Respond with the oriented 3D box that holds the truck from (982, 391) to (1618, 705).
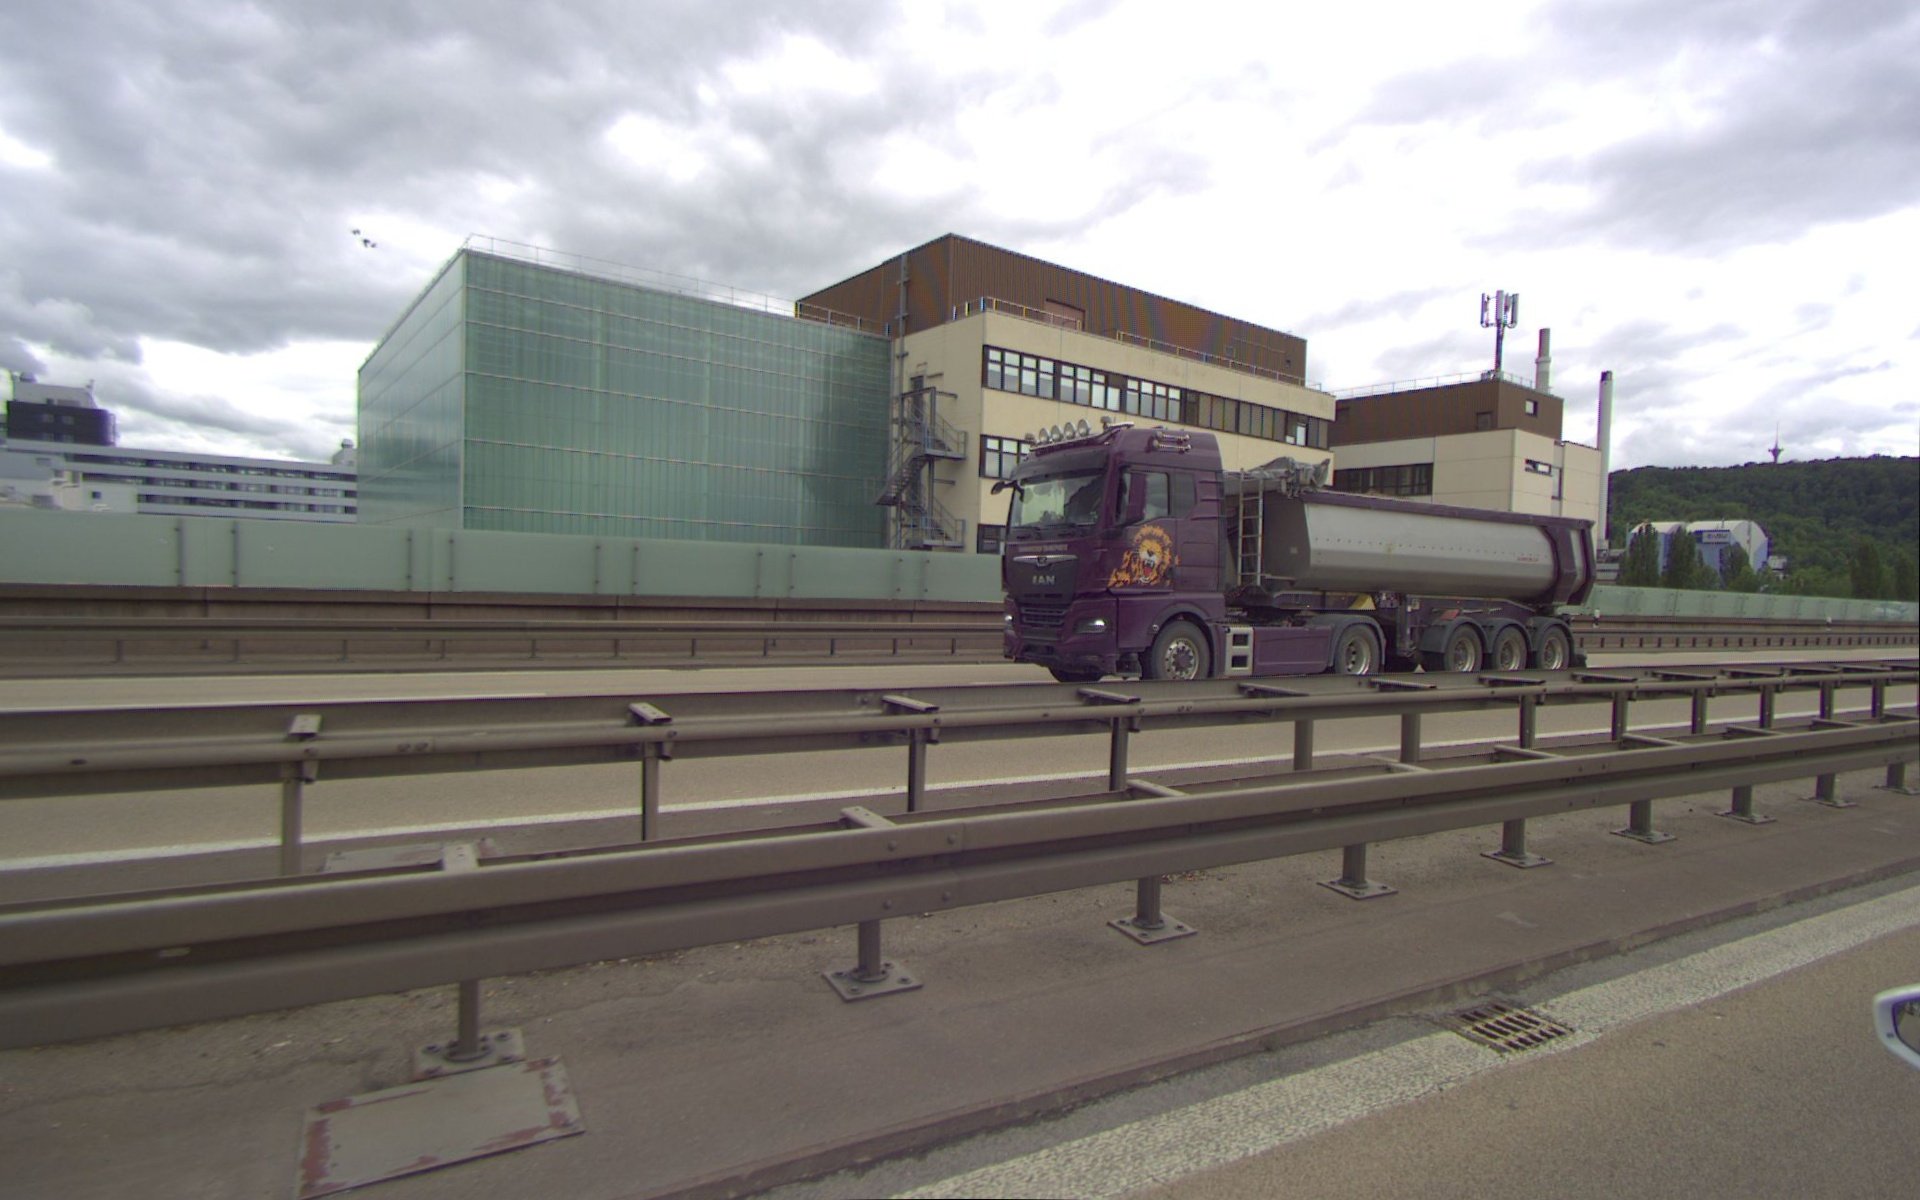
[{"bbox_3d":[6.179,-0.488,16.588,11.878,3.860,2.797,2,0,-30],"label":"truck"}]
